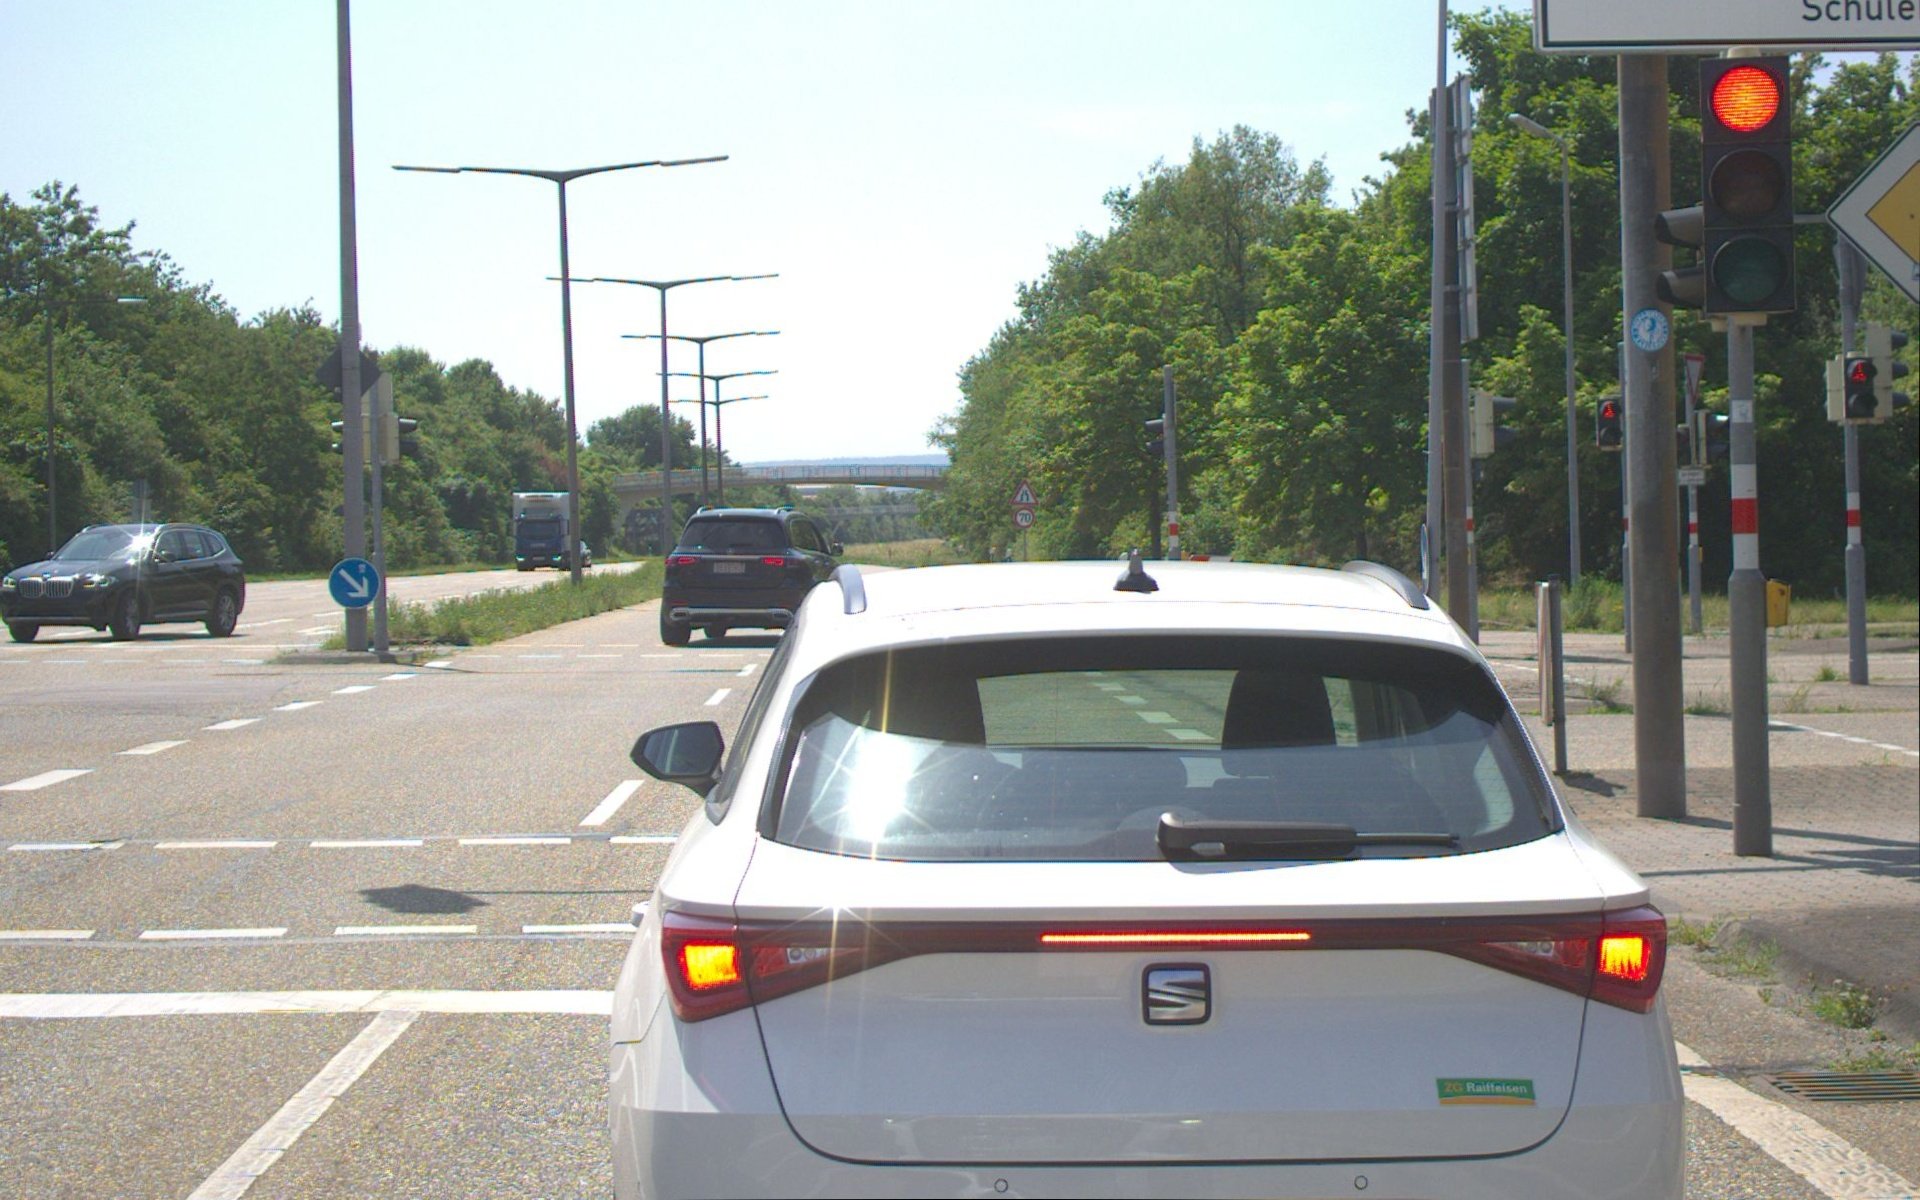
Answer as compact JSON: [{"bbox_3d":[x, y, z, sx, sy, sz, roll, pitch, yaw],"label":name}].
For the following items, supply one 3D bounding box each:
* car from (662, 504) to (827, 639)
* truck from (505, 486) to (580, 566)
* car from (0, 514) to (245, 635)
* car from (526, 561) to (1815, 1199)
[{"bbox_3d":[-2.859,-0.416,46.280,1.855,1.703,4.000,-1,1,1],"label":"car"},{"bbox_3d":[-19.201,-3.429,158.560,2.687,3.558,7.268,0,1,-1],"label":"truck"},{"bbox_3d":[-12.209,-0.403,50.271,1.708,1.657,4.220,-1,1,15],"label":"car"},{"bbox_3d":[0.261,0.651,6.505,1.734,1.423,3.695,1,1,-1],"label":"car"}]
